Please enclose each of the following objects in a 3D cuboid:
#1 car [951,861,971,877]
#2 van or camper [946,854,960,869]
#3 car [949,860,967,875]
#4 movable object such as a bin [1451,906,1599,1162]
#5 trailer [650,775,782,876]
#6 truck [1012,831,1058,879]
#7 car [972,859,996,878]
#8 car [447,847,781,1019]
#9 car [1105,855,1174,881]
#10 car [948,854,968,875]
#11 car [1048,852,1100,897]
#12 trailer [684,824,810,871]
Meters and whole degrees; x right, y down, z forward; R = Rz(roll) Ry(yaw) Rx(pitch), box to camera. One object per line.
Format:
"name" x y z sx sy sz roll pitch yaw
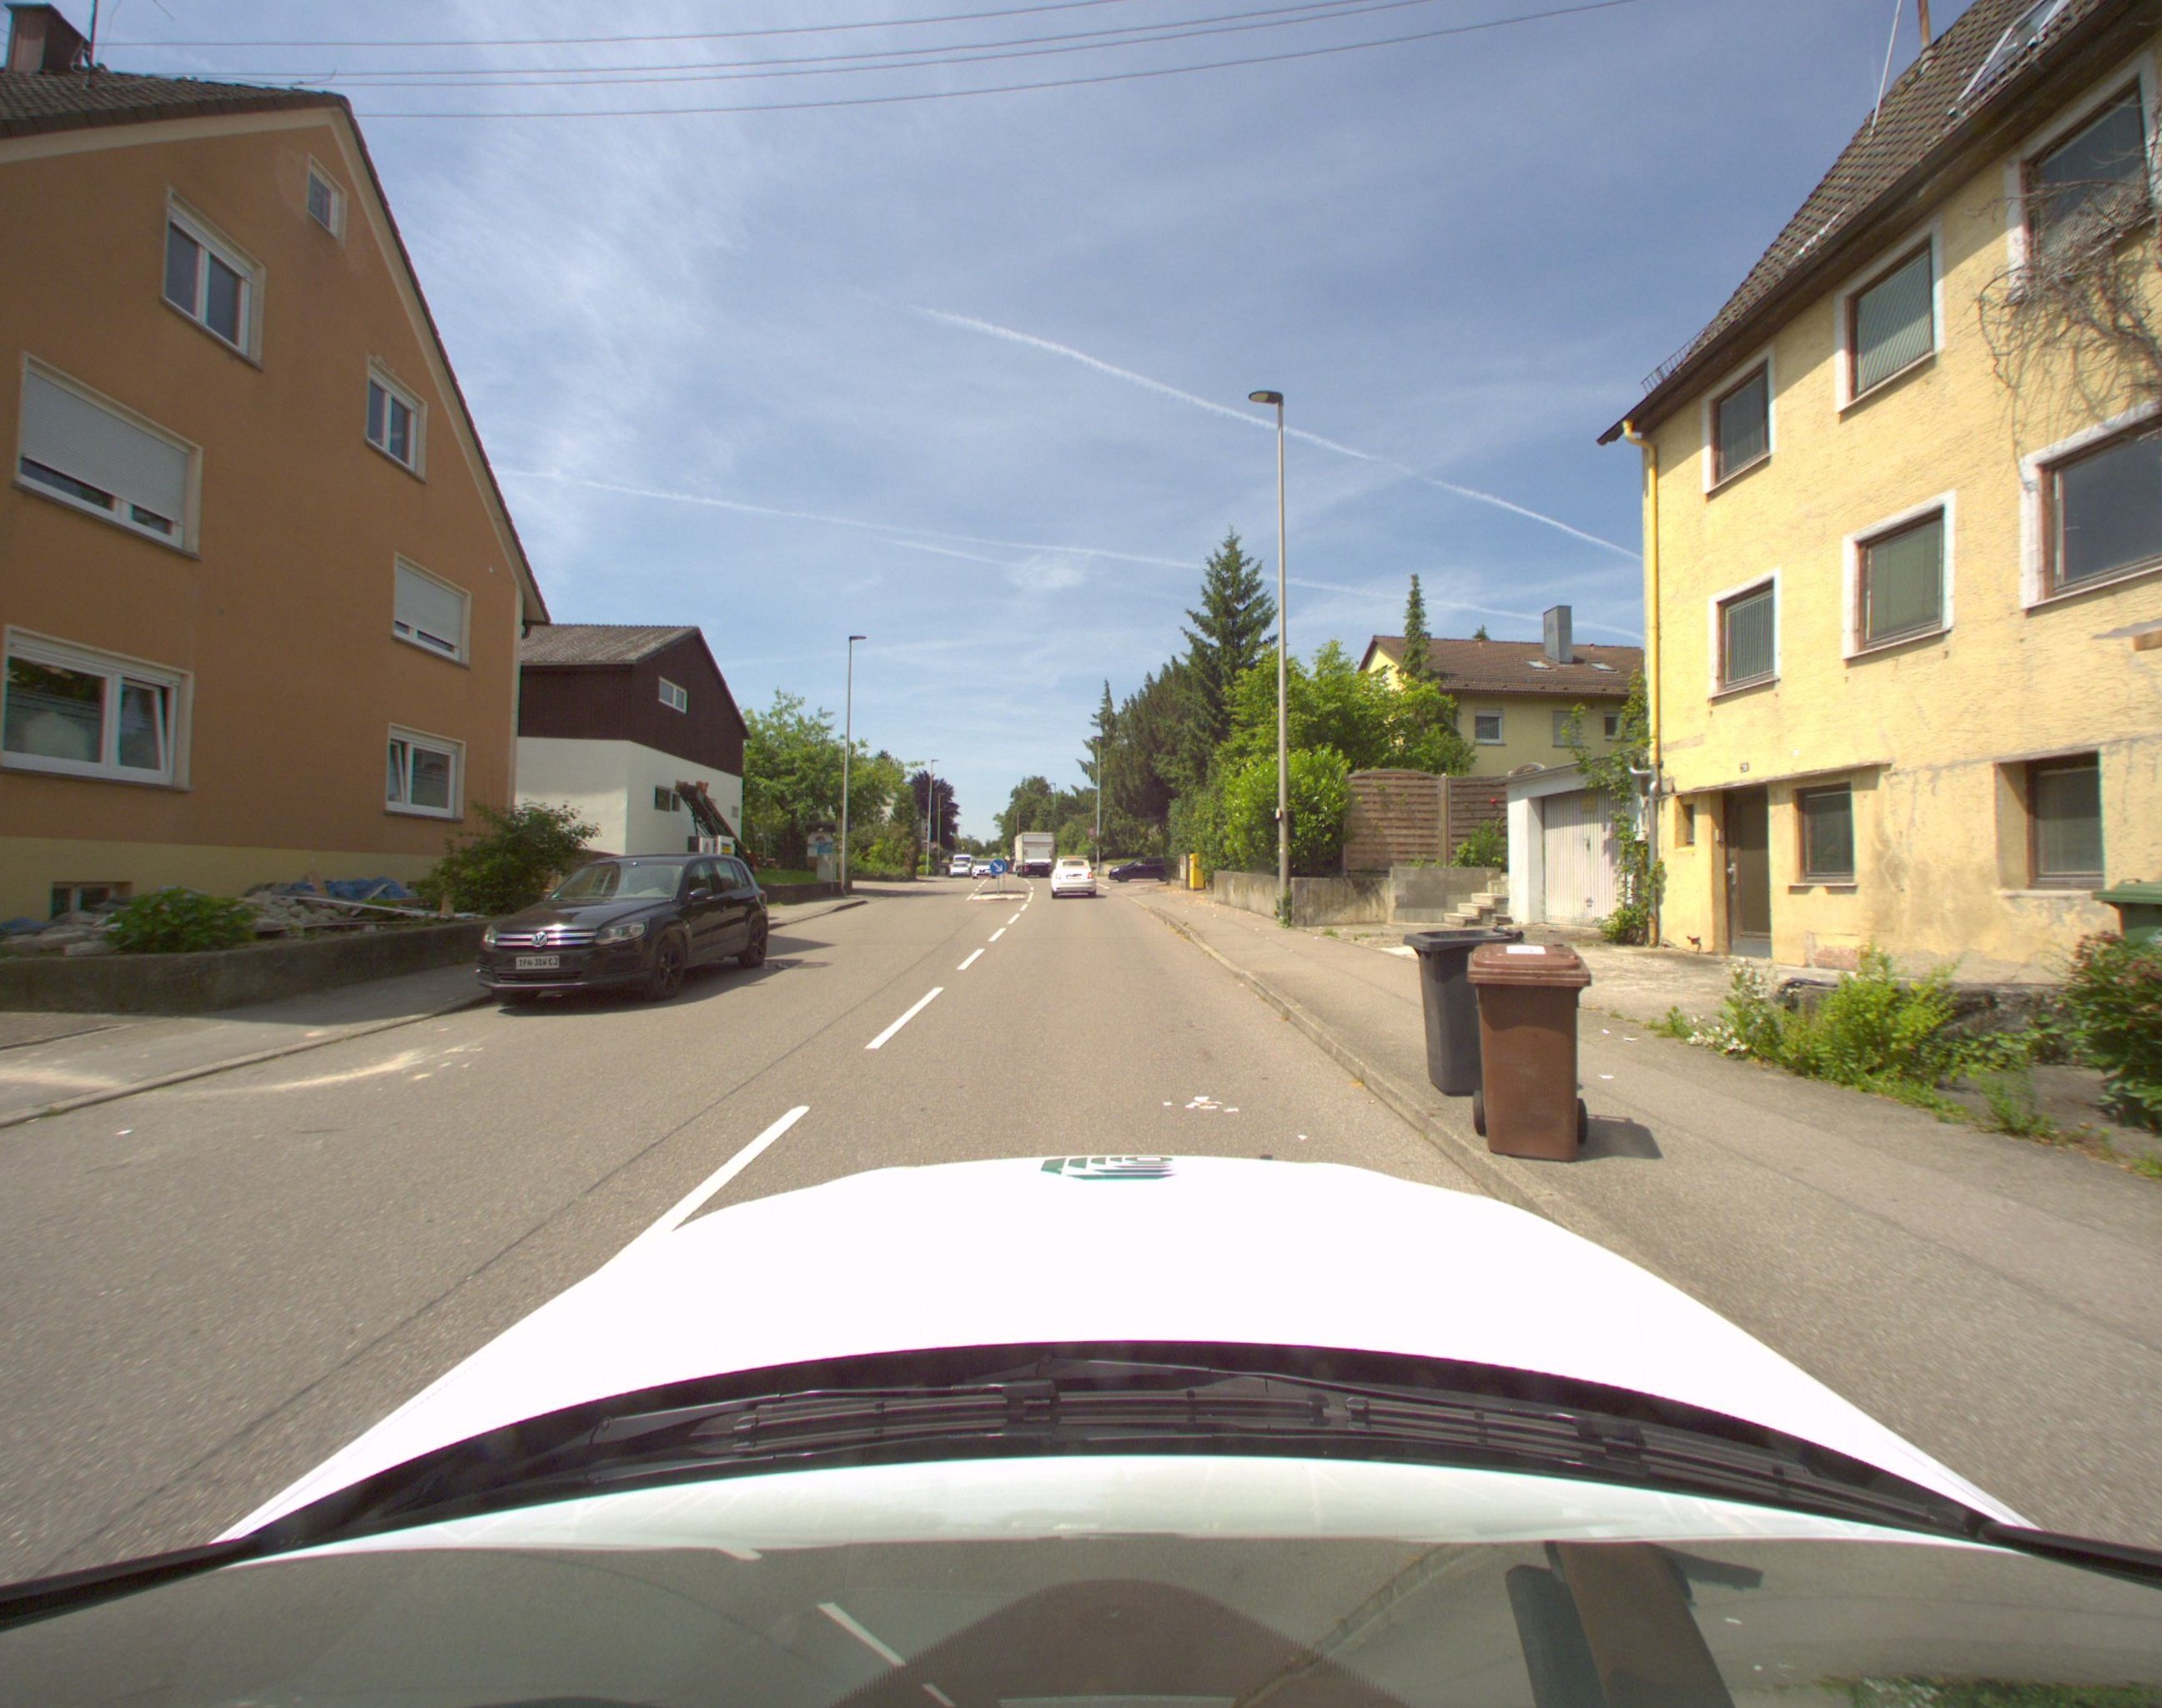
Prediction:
"car" -11.183 1.379 75.741 1.804 1.398 3.987 0 -1 -10
"van or camper" -25.352 1.428 161.325 2.262 2.962 5.876 1 -1 -6
"car" -12.293 1.342 81.277 1.804 1.398 3.954 0 -1 -10
"movable object such as a bin" 2.025 0.789 3.771 0.490 1.033 0.551 -4 -1 24
"trailer" -11.501 -0.803 26.231 1.708 2.848 6.167 0 0 -3
"truck" -4.061 0.130 69.546 3.068 3.774 7.841 -1 -1 -10
"car" -8.022 1.211 67.433 1.780 1.529 4.163 -1 -1 -5
"car" -5.341 0.765 10.095 1.764 1.636 4.284 -1 0 -2
"car" 3.456 0.811 48.534 3.926 1.458 1.656 -1 -1 -4
"car" -13.495 1.124 89.161 2.037 2.200 5.564 0 -1 -9
"car" -0.344 0.745 30.809 1.721 1.560 3.995 -2 0 -4
"trailer" -13.281 -0.241 32.484 3.662 1.691 2.780 2 -1 24
